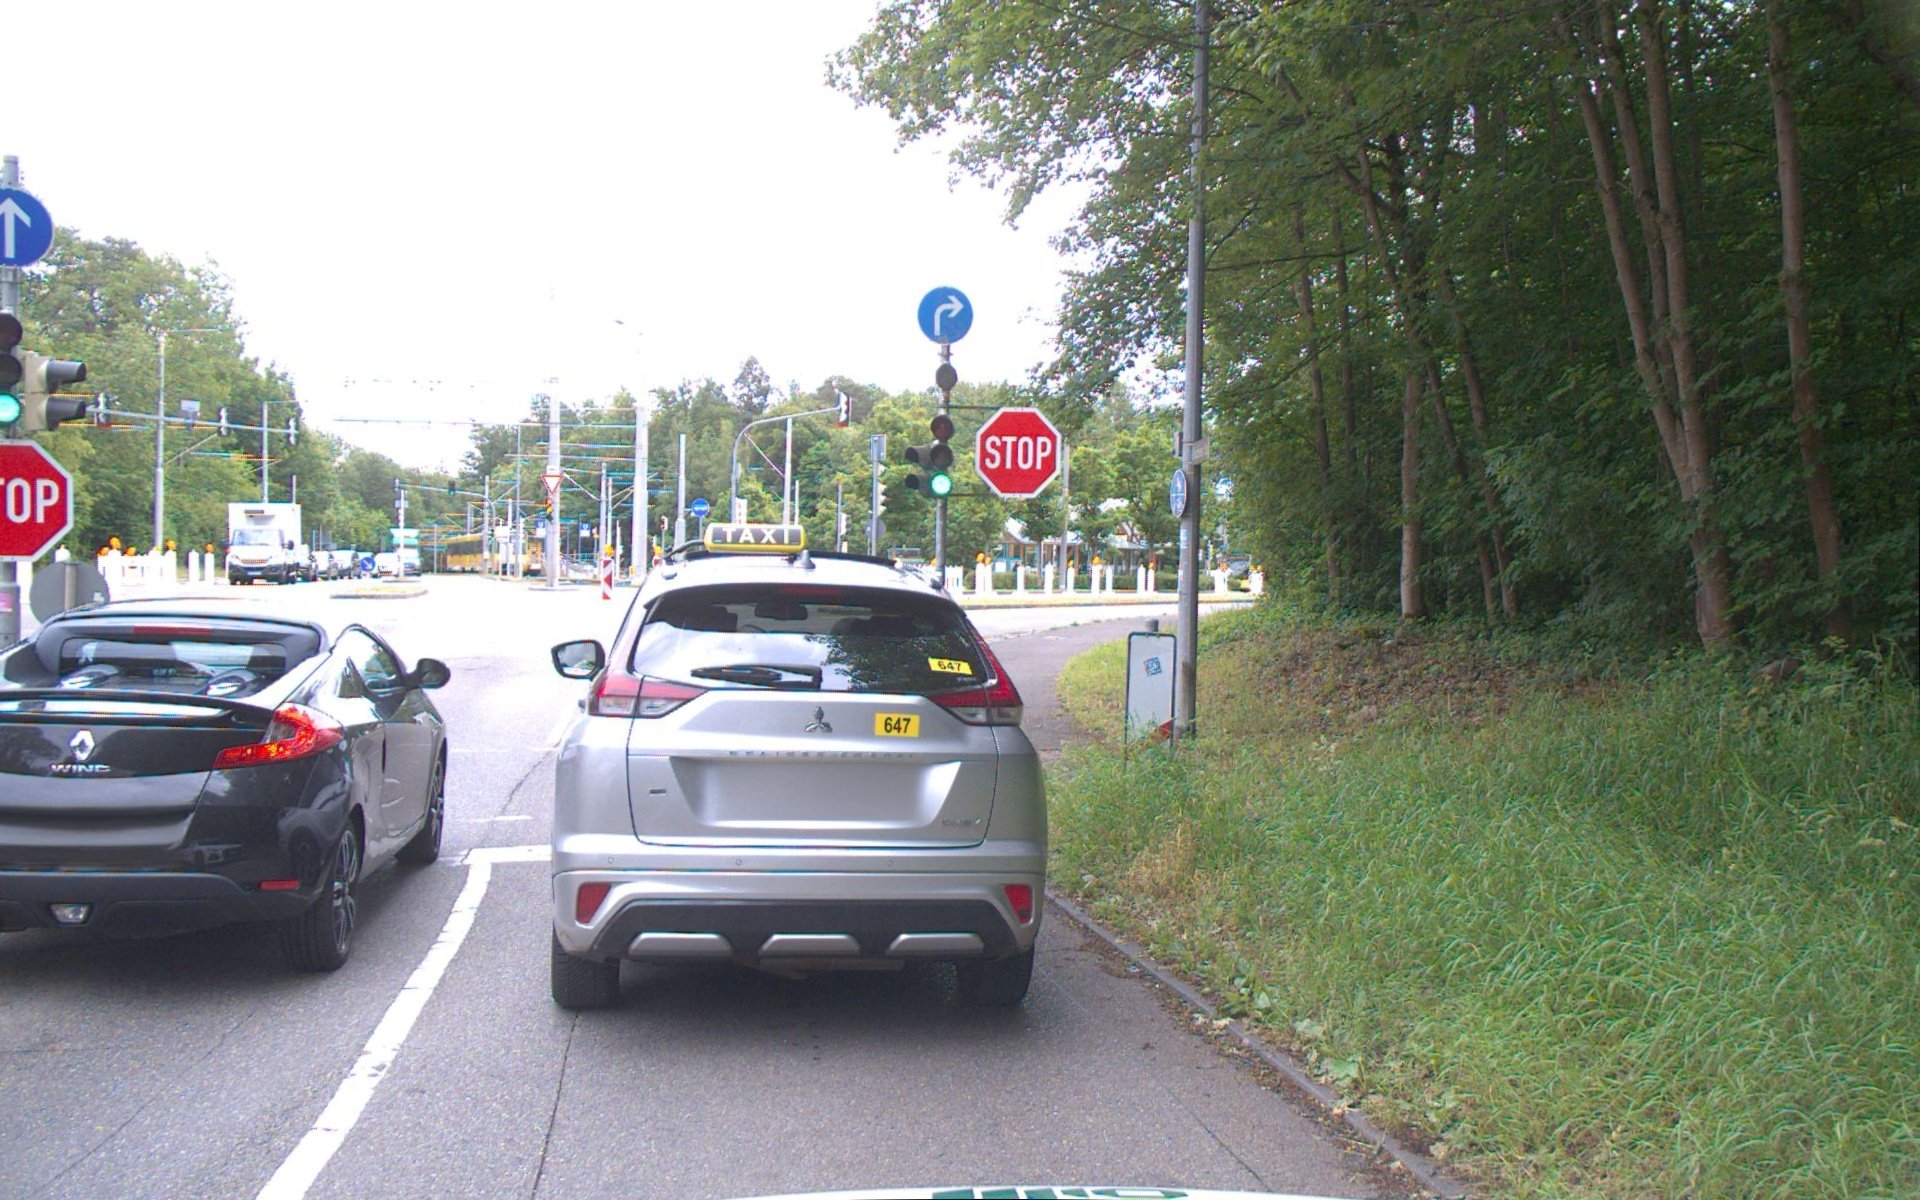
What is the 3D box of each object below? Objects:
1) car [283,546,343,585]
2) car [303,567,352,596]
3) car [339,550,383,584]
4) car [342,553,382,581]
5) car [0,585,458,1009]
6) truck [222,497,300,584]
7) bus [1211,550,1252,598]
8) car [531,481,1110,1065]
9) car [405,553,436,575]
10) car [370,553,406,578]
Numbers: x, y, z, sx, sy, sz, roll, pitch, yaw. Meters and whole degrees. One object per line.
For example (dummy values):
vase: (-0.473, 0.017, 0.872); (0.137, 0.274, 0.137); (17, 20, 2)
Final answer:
car: (-30.907, -1.649, 79.072); (1.928, 1.780, 4.831); (1, 1, -13)
car: (-32.903, -0.968, 86.133); (1.930, 1.385, 4.670); (1, 1, -16)
car: (-33.860, -1.873, 93.585); (1.930, 1.877, 4.670); (1, 1, -16)
car: (-36.280, -2.026, 100.432); (1.930, 1.635, 4.292); (1, 1, -16)
car: (-3.322, 0.647, 7.316); (1.742, 1.385, 3.467); (0, 1, -11)
truck: (-27.749, -2.315, 65.855); (2.412, 3.280, 7.115); (0, 1, -20)
bus: (22.272, -2.204, 136.259); (2.761, 3.665, 12.815); (1, 1, 7)
car: (-0.701, 0.524, 7.038); (1.741, 1.778, 3.773); (2, 1, -9)
car: (-38.994, -2.610, 119.614); (1.930, 1.567, 4.292); (1, 1, -16)
car: (-36.690, -2.209, 106.120); (1.930, 1.568, 4.378); (1, 1, -16)
